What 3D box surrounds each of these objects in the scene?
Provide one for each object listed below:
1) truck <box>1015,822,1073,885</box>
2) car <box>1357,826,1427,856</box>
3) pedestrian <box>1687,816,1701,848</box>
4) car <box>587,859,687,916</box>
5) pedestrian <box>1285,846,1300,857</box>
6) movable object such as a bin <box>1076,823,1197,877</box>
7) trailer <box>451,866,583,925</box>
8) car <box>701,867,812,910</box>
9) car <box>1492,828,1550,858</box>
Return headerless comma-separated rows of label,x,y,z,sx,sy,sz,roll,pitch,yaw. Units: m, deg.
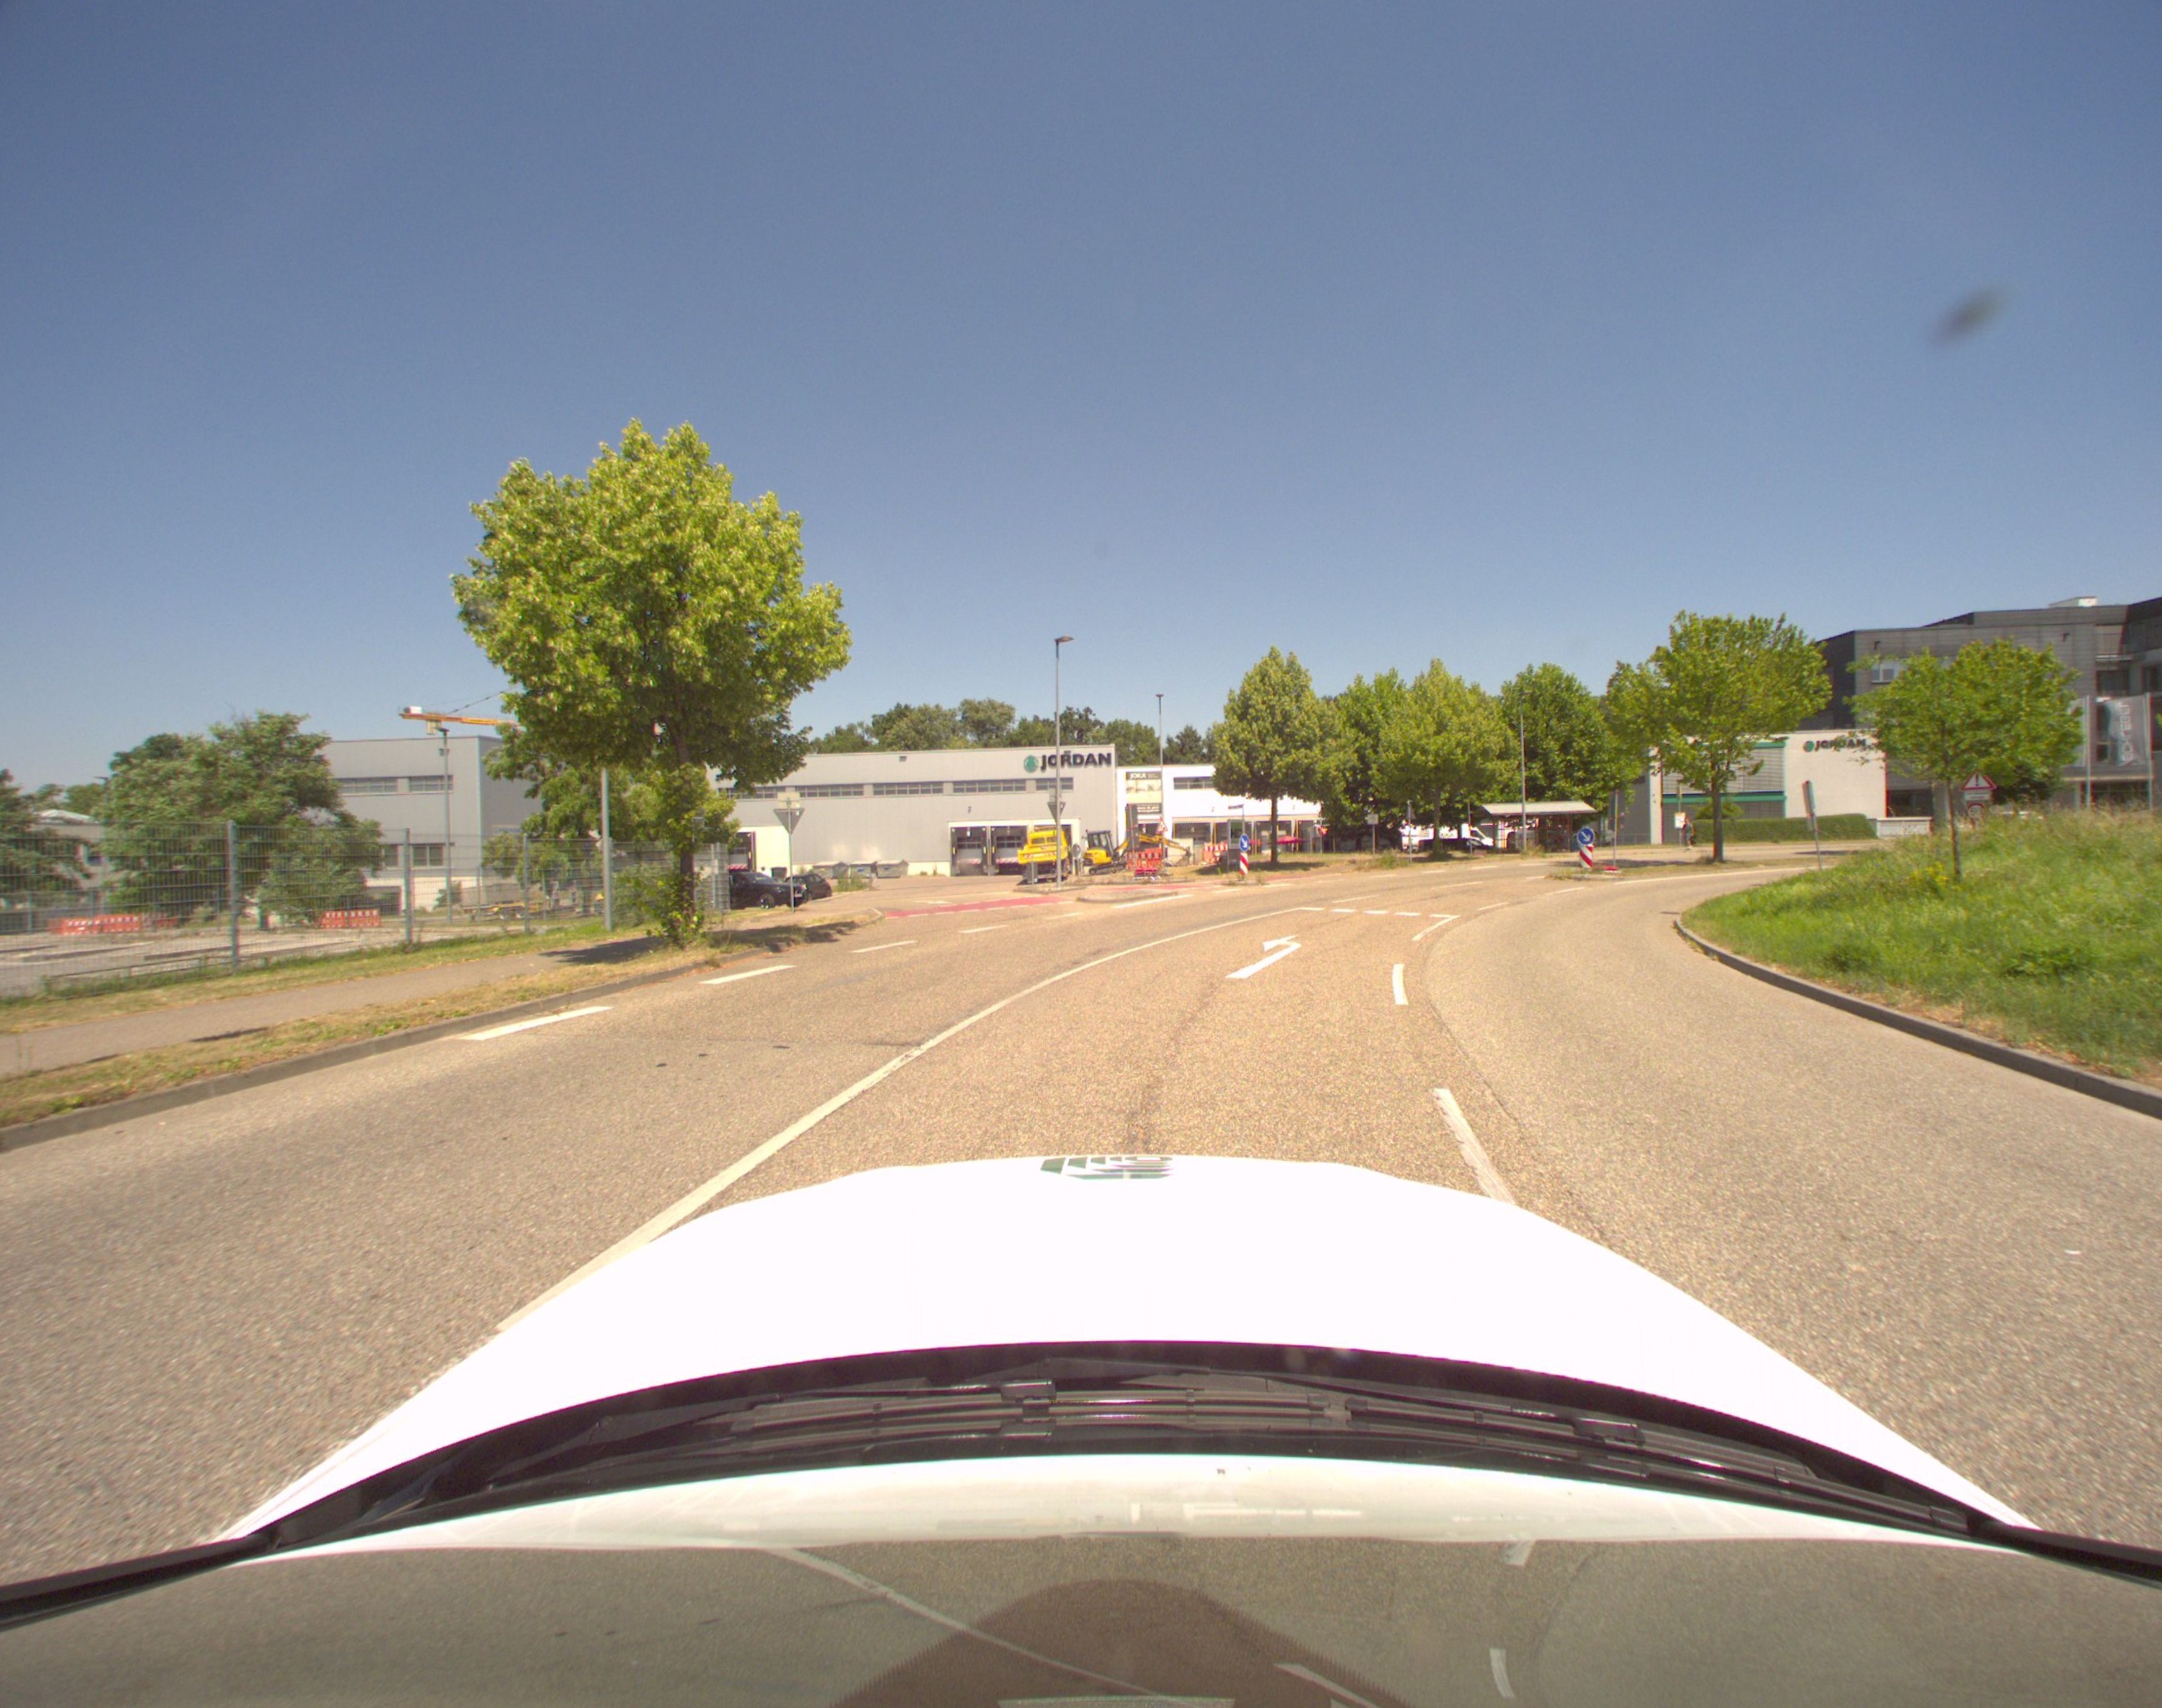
truck,-1.985,-0.143,46.176,2.578,3.135,6.428,-4,2,2
car,20.429,-0.842,53.601,3.966,1.728,1.844,-3,0,7
pedestrian,32.492,-1.160,43.160,0.524,1.670,0.583,0,-1,32
car,-24.809,1.798,45.795,1.985,2.732,5.805,-2,1,4
pedestrian,14.471,-0.147,55.718,0.855,0.695,0.410,-3,0,28
movable object such as a bin,3.196,-0.202,46.492,6.516,2.581,2.006,-4,-1,10
trailer,-32.102,2.300,46.506,5.482,2.856,2.666,-3,2,1
car,-13.521,1.458,33.886,4.540,1.635,1.882,-3,-2,30
car,31.073,-0.766,57.615,1.541,2.014,4.257,1,-1,-5
